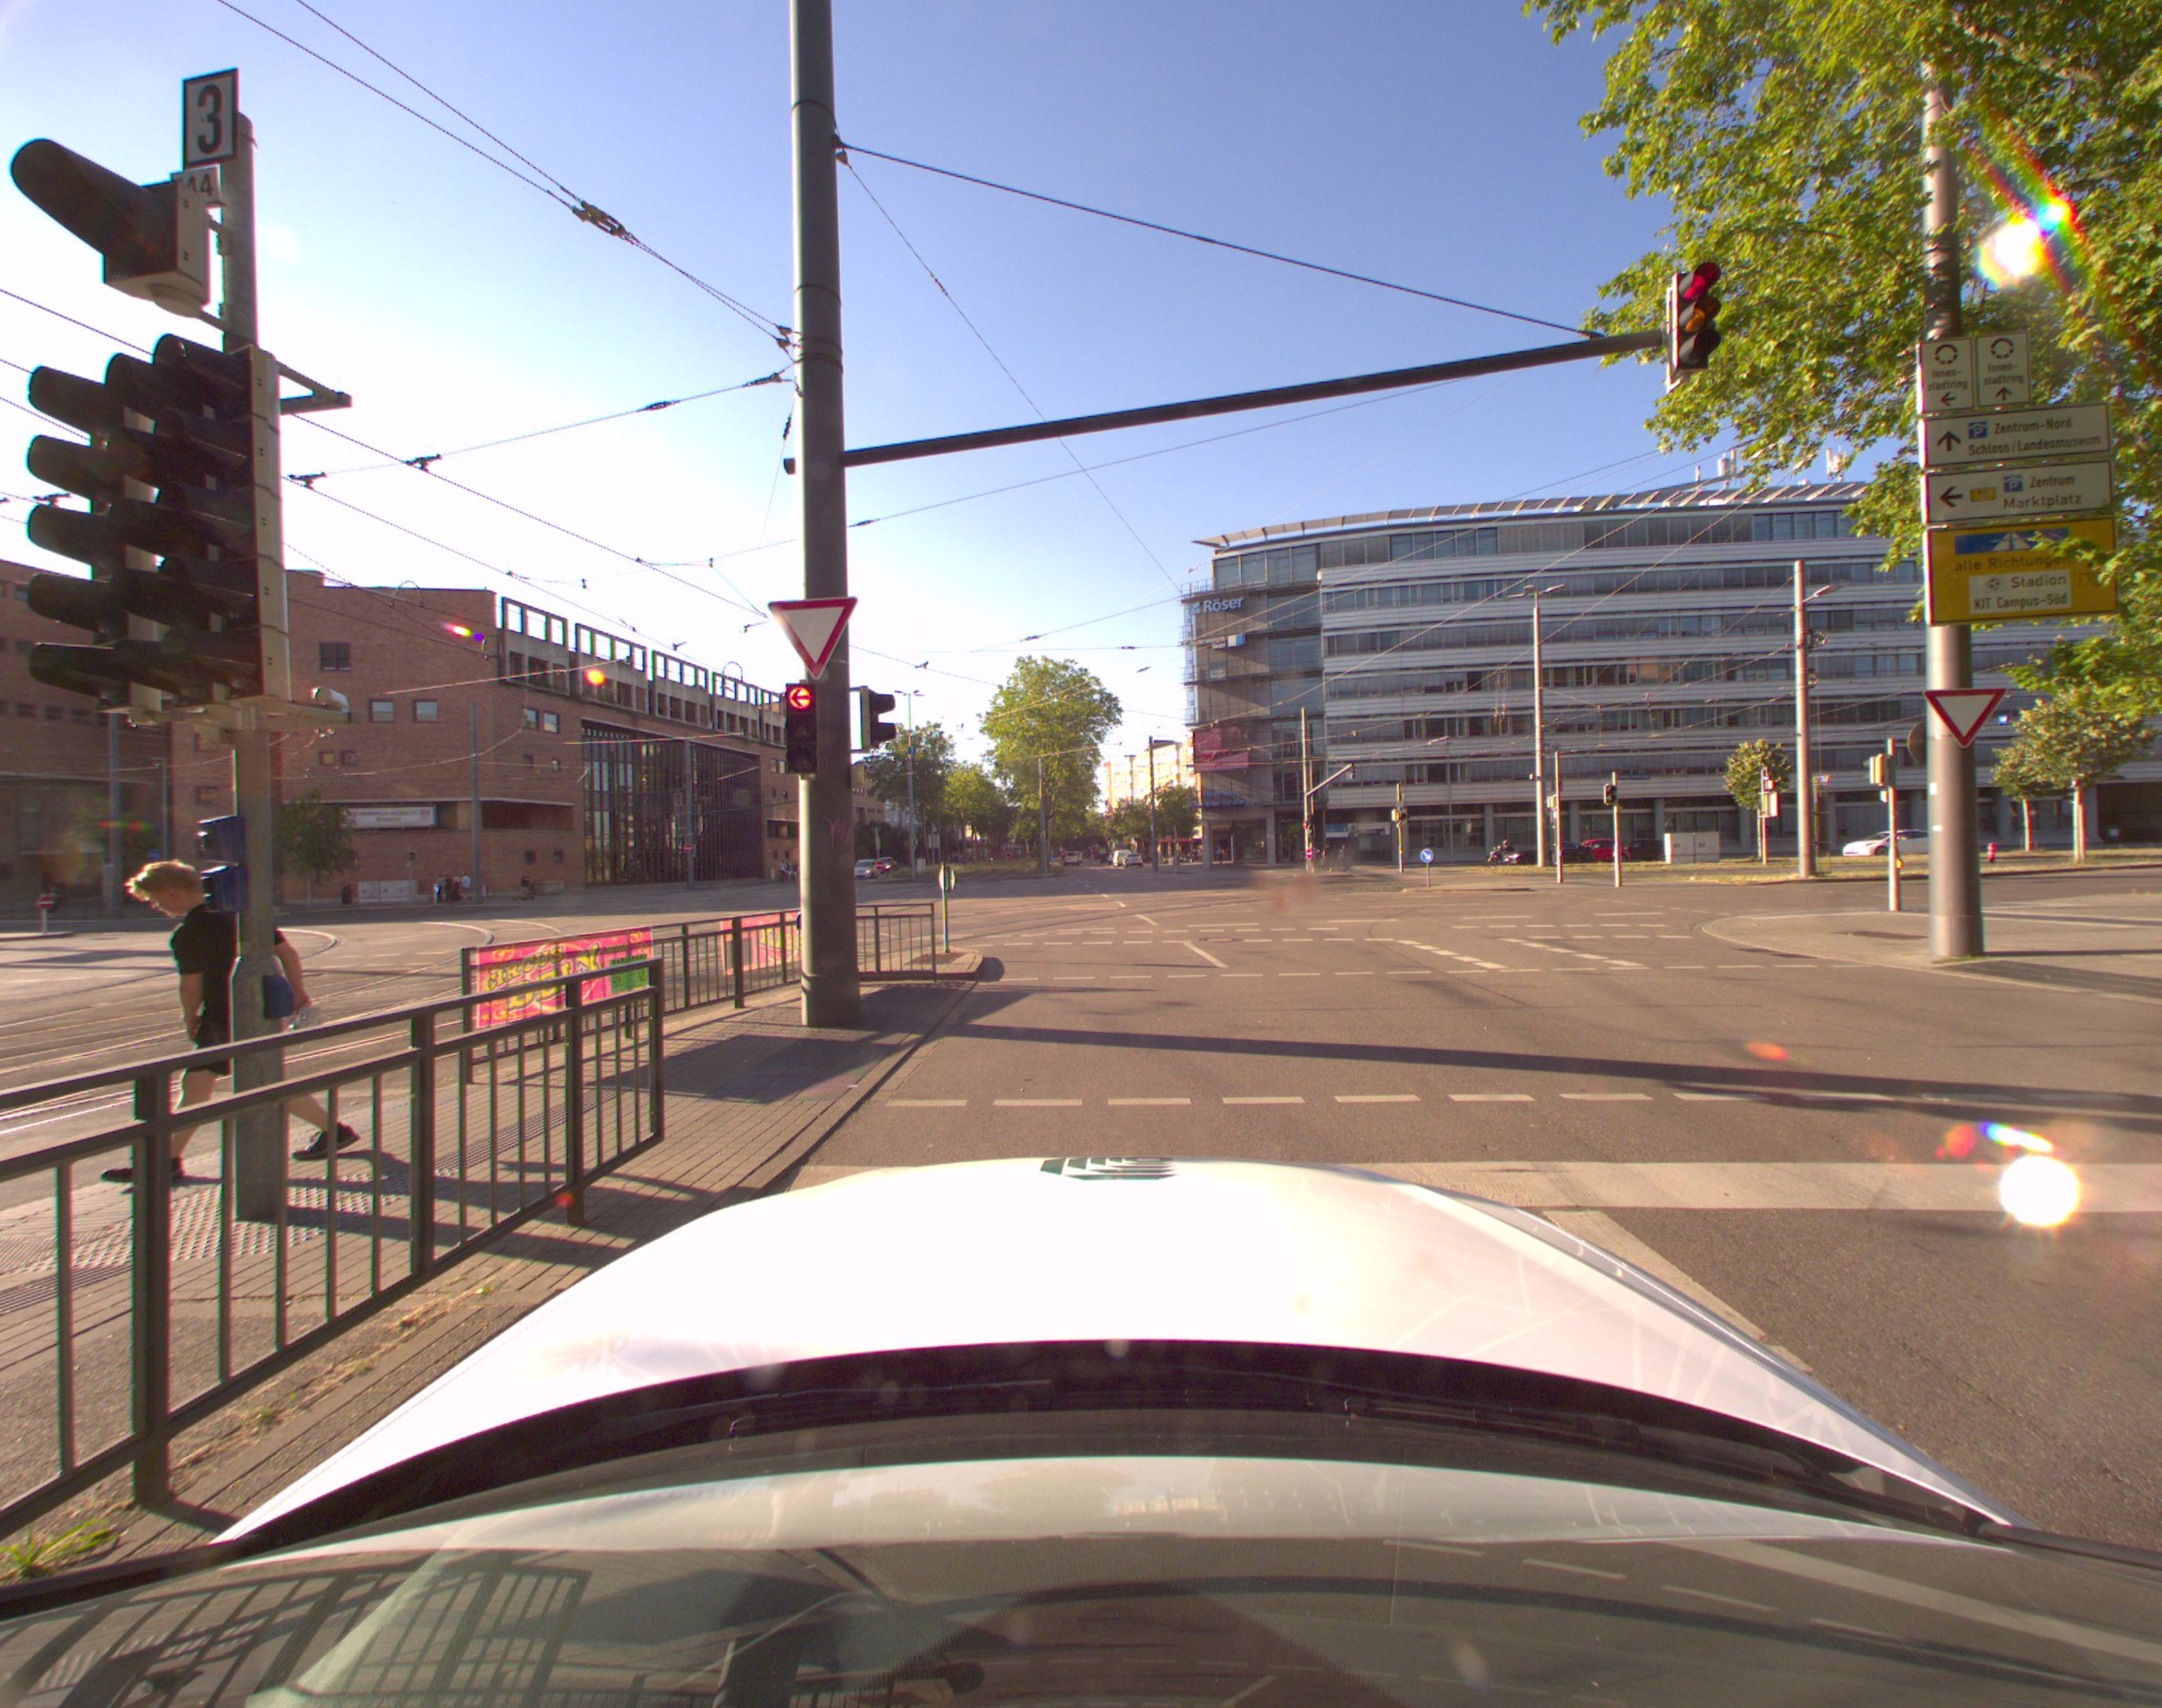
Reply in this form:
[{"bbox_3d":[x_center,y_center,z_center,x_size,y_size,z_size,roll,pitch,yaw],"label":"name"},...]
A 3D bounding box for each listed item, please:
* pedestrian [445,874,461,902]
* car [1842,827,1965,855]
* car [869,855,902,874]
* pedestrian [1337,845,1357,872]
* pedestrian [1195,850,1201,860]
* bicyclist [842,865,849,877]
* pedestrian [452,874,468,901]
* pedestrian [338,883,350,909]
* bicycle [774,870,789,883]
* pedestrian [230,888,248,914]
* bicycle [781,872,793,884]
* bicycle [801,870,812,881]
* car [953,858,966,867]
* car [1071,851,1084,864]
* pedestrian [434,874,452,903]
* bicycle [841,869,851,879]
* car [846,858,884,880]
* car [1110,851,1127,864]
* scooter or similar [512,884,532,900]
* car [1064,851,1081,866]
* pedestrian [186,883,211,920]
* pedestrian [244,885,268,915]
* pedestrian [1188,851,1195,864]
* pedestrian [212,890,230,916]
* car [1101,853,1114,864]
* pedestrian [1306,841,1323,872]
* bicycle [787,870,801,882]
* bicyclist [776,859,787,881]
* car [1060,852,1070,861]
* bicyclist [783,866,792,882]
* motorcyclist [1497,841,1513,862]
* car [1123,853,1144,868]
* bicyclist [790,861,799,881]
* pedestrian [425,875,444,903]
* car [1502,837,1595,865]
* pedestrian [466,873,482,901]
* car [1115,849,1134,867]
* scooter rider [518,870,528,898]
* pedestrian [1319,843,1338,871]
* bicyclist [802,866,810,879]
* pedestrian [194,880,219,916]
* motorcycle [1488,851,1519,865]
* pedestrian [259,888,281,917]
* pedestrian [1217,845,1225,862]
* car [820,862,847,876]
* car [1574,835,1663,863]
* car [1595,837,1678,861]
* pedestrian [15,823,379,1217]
[{"bbox_3d":[-38.453,2.079,49.873,0.547,1.683,0.572,-2,0,-7],"label":"pedestrian"},{"bbox_3d":[44.658,-0.707,44.304,4.580,1.336,1.789,-2,0,7],"label":"car"},{"bbox_3d":[-18.113,0.964,75.533,1.987,1.640,4.001,-2,0,1],"label":"car"},{"bbox_3d":[16.317,0.264,49.951,0.943,1.564,0.899,-2,0,8],"label":"pedestrian"},{"bbox_3d":[15.760,0.152,109.870,0.575,1.289,0.910,-2,0,2],"label":"pedestrian"},{"bbox_3d":[-24.461,1.765,84.765,0.503,1.210,0.581,-2,0,1],"label":"bicyclist"},{"bbox_3d":[-38.883,2.100,51.003,0.591,1.683,0.501,-2,0,-5],"label":"pedestrian"},{"bbox_3d":[-43.359,2.487,47.933,0.494,1.506,0.543,-2,0,-42],"label":"pedestrian"},{"bbox_3d":[-24.346,1.821,66.129,0.540,0.963,1.587,-2,0,2],"label":"bicycle"},{"bbox_3d":[-47.537,2.628,45.970,0.549,1.427,0.563,-2,0,32],"label":"pedestrian"},{"bbox_3d":[-25.009,2.073,69.288,0.466,0.963,1.320,-2,0,2],"label":"bicycle"},{"bbox_3d":[-24.384,1.925,72.275,0.449,0.963,1.348,-2,0,2],"label":"bicycle"},{"bbox_3d":[-25.591,1.757,171.930,1.986,1.816,4.002,-2,0,2],"label":"car"},{"bbox_3d":[-0.538,0.517,129.962,1.986,1.912,4.002,-2,0,2],"label":"car"},{"bbox_3d":[-37.866,2.048,48.369,0.547,1.683,0.592,-2,0,0],"label":"pedestrian"},{"bbox_3d":[-24.455,2.040,84.674,0.490,0.963,1.487,-2,0,2],"label":"bicycle"},{"bbox_3d":[-18.002,1.221,67.958,1.987,1.640,4.001,-2,0,1],"label":"car"},{"bbox_3d":[4.824,0.475,105.301,1.986,1.618,4.002,-2,0,2],"label":"car"},{"bbox_3d":[-33.725,2.283,49.156,0.956,0.899,0.173,-2,0,-45],"label":"scooter or similar"},{"bbox_3d":[-1.090,0.561,109.742,1.953,1.848,5.333,-2,0,2],"label":"car"},{"bbox_3d":[-40.661,2.183,37.535,0.594,1.648,0.552,-2,0,21],"label":"pedestrian"},{"bbox_3d":[-40.678,2.257,40.152,0.563,1.453,0.618,-2,0,20],"label":"pedestrian"},{"bbox_3d":[14.200,0.432,104.823,0.741,1.714,0.612,-2,0,1],"label":"pedestrian"},{"bbox_3d":[-47.934,2.702,45.387,0.547,1.409,0.577,-2,0,35],"label":"pedestrian"},{"bbox_3d":[4.097,0.654,126.783,1.986,1.618,4.002,-2,0,2],"label":"car"},{"bbox_3d":[14.139,0.153,49.357,0.859,1.788,0.873,-2,0,8],"label":"pedestrian"},{"bbox_3d":[-23.395,1.787,66.406,0.471,0.963,1.576,-2,0,2],"label":"bicycle"},{"bbox_3d":[-24.350,1.314,66.223,0.534,1.731,0.581,-2,0,1],"label":"bicyclist"},{"bbox_3d":[-3.798,0.624,194.618,1.986,2.013,4.001,-2,0,1],"label":"car"},{"bbox_3d":[-25.006,1.714,69.288,0.503,1.304,0.581,-2,0,1],"label":"bicyclist"},{"bbox_3d":[25.530,-0.146,49.062,0.708,1.275,0.460,-2,0,5],"label":"motorcyclist"},{"bbox_3d":[5.294,0.620,82.827,1.986,1.376,4.002,-2,0,2],"label":"car"},{"bbox_3d":[-23.397,1.357,66.409,0.456,1.603,0.581,-2,0,1],"label":"bicyclist"},{"bbox_3d":[-39.129,2.103,49.287,0.620,1.683,0.649,-2,0,-9],"label":"pedestrian"},{"bbox_3d":[26.457,-0.160,46.194,4.136,1.398,1.789,-2,0,7],"label":"car"},{"bbox_3d":[-37.707,2.037,50.585,0.572,1.683,0.546,-2,0,-7],"label":"pedestrian"},{"bbox_3d":[4.747,0.448,89.645,1.986,1.860,4.002,-2,0,2],"label":"car"},{"bbox_3d":[-33.721,1.811,49.207,0.441,1.647,0.226,-2,0,-44],"label":"scooter rider"},{"bbox_3d":[15.284,0.163,50.350,0.907,1.685,1.038,-2,0,9],"label":"pedestrian"},{"bbox_3d":[-24.381,1.643,72.237,0.503,1.179,0.581,-2,0,1],"label":"bicyclist"},{"bbox_3d":[-41.109,2.071,38.300,0.591,1.614,0.592,-2,0,22],"label":"pedestrian"},{"bbox_3d":[25.440,0.238,49.062,1.560,0.810,0.468,-2,0,6],"label":"motorcycle"},{"bbox_3d":[-39.368,2.338,39.532,0.596,1.339,0.685,-2,0,42],"label":"pedestrian"},{"bbox_3d":[12.814,-0.022,74.672,0.608,1.507,0.581,-2,0,12],"label":"pedestrian"},{"bbox_3d":[-27.703,1.704,91.255,1.661,1.436,4.001,-2,0,1],"label":"car"},{"bbox_3d":[31.960,-0.278,48.504,3.966,1.393,1.789,-4,0,7],"label":"car"},{"bbox_3d":[36.459,-0.322,53.523,4.136,1.398,1.789,-2,0,7],"label":"car"},{"bbox_3d":[-4.513,0.744,4.283,1.097,1.748,0.735,-3,0,-35],"label":"pedestrian"}]
